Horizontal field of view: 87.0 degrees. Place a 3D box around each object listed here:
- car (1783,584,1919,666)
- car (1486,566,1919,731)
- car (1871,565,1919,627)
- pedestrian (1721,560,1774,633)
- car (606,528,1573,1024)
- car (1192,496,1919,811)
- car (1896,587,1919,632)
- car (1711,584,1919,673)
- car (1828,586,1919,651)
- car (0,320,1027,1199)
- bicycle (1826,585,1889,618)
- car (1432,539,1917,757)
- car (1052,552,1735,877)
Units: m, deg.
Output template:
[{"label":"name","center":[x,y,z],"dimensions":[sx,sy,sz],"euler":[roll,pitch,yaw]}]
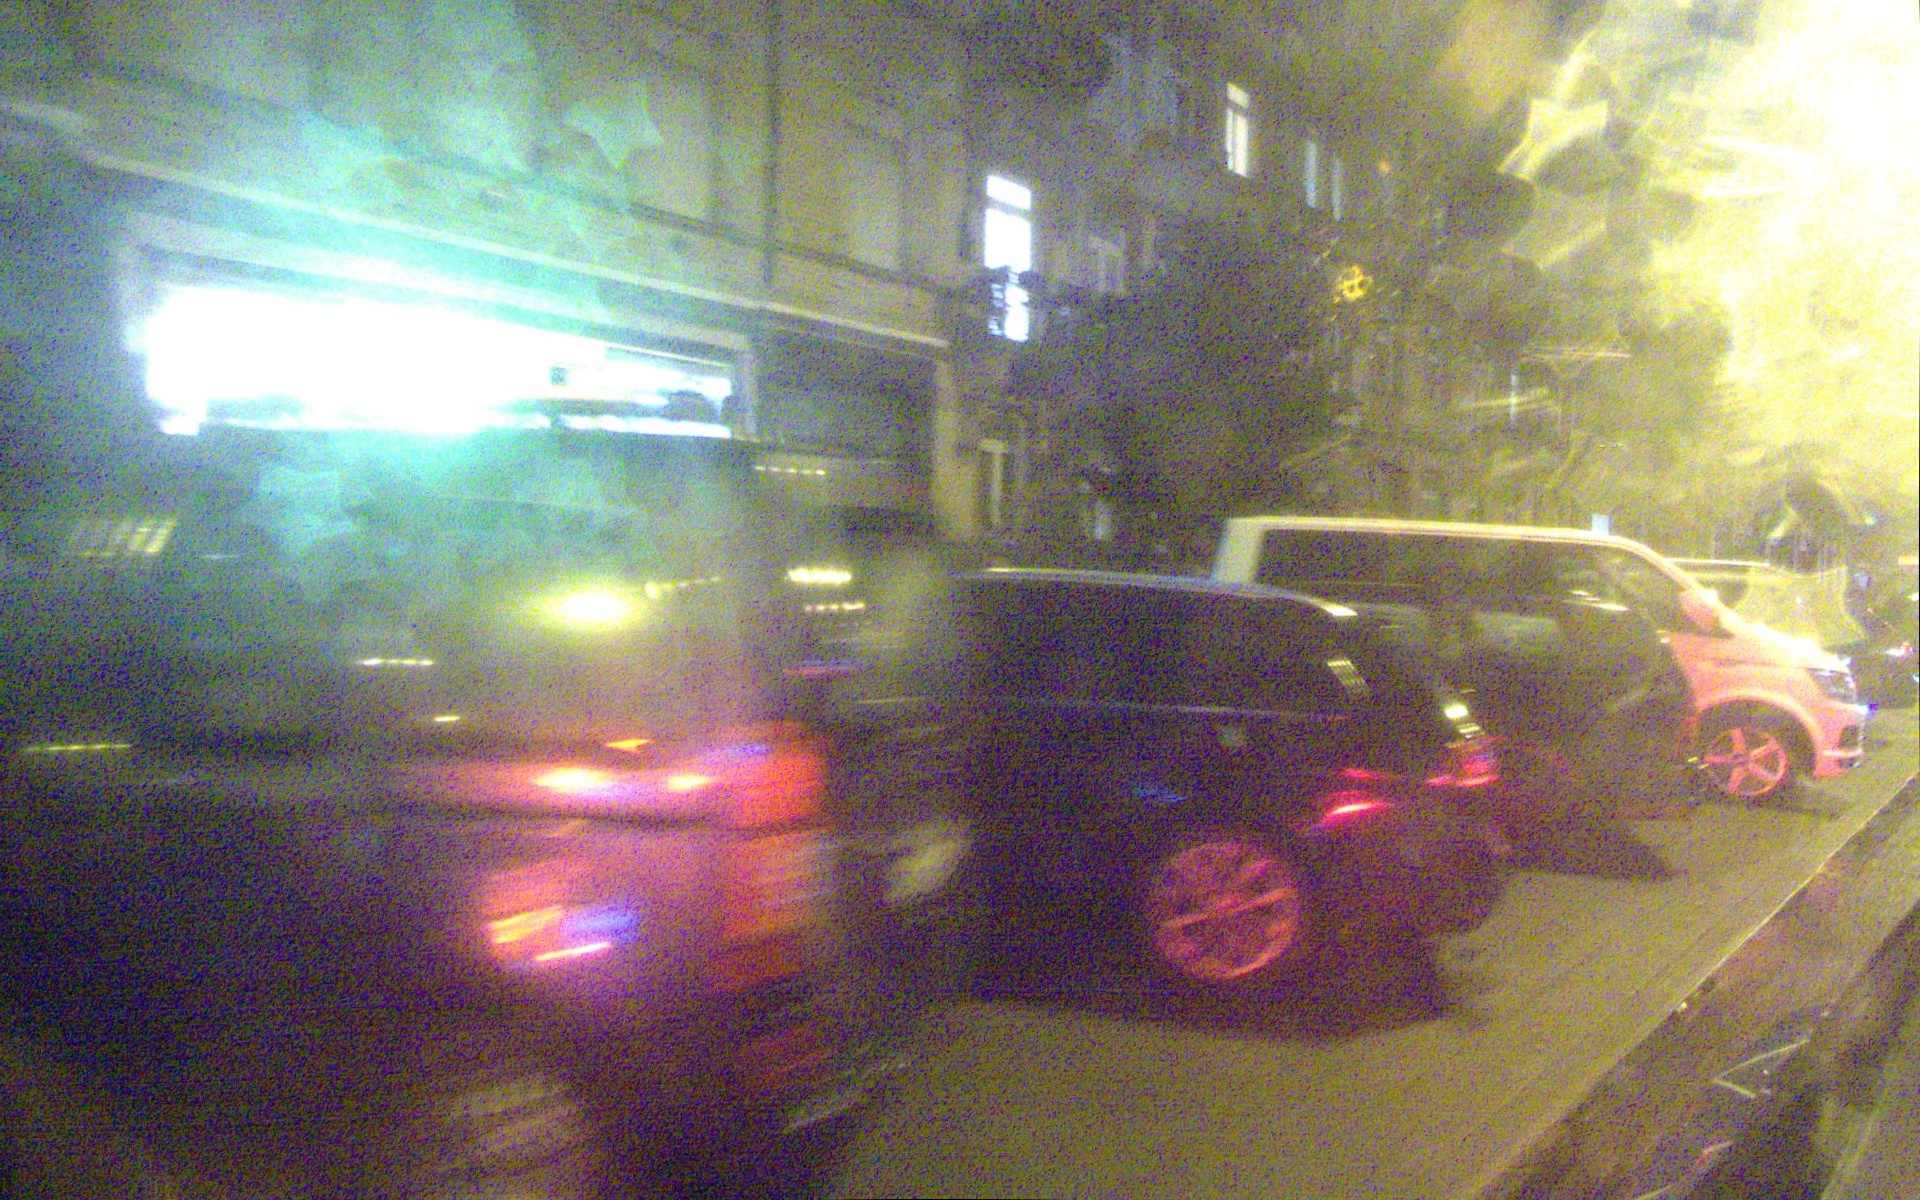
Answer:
[{"label":"car","center":[19.636,0.508,21.004],"dimensions":[3.595,1.600,1.588],"euler":[1,1,11]},{"label":"car","center":[8.517,0.458,11.782],"dimensions":[3.950,1.510,1.724],"euler":[3,3,19]},{"label":"car","center":[37.522,-0.092,37.819],"dimensions":[4.655,2.275,1.939],"euler":[2,2,14]},{"label":"pedestrian","center":[20.988,-0.101,26.964],"dimensions":[0.976,1.878,0.870],"euler":[0,3,-43]},{"label":"car","center":[0.455,0.512,4.578],"dimensions":[3.514,1.502,1.719],"euler":[3,3,14]},{"label":"car","center":[4.467,0.276,8.427],"dimensions":[4.739,2.074,2.054],"euler":[2,1,19]},{"label":"car","center":[35.743,0.404,35.842],"dimensions":[3.350,1.560,1.572],"euler":[2,2,14]},{"label":"car","center":[16.902,0.508,19.454],"dimensions":[3.603,1.600,1.584],"euler":[1,1,17]},{"label":"car","center":[23.974,0.481,24.848],"dimensions":[3.631,1.478,1.597],"euler":[3,2,15]},{"label":"car","center":[-1.796,0.336,2.960],"dimensions":[3.694,1.862,1.720],"euler":[3,3,13]},{"label":"bicycle","center":[42.093,0.053,47.482],"dimensions":[0.767,1.351,1.980],"euler":[1,4,-34]},{"label":"car","center":[6.753,0.347,10.054],"dimensions":[3.523,1.732,1.635],"euler":[4,3,21]},{"label":"car","center":[2.457,0.534,6.378],"dimensions":[3.469,1.512,1.442],"euler":[3,3,18]}]
